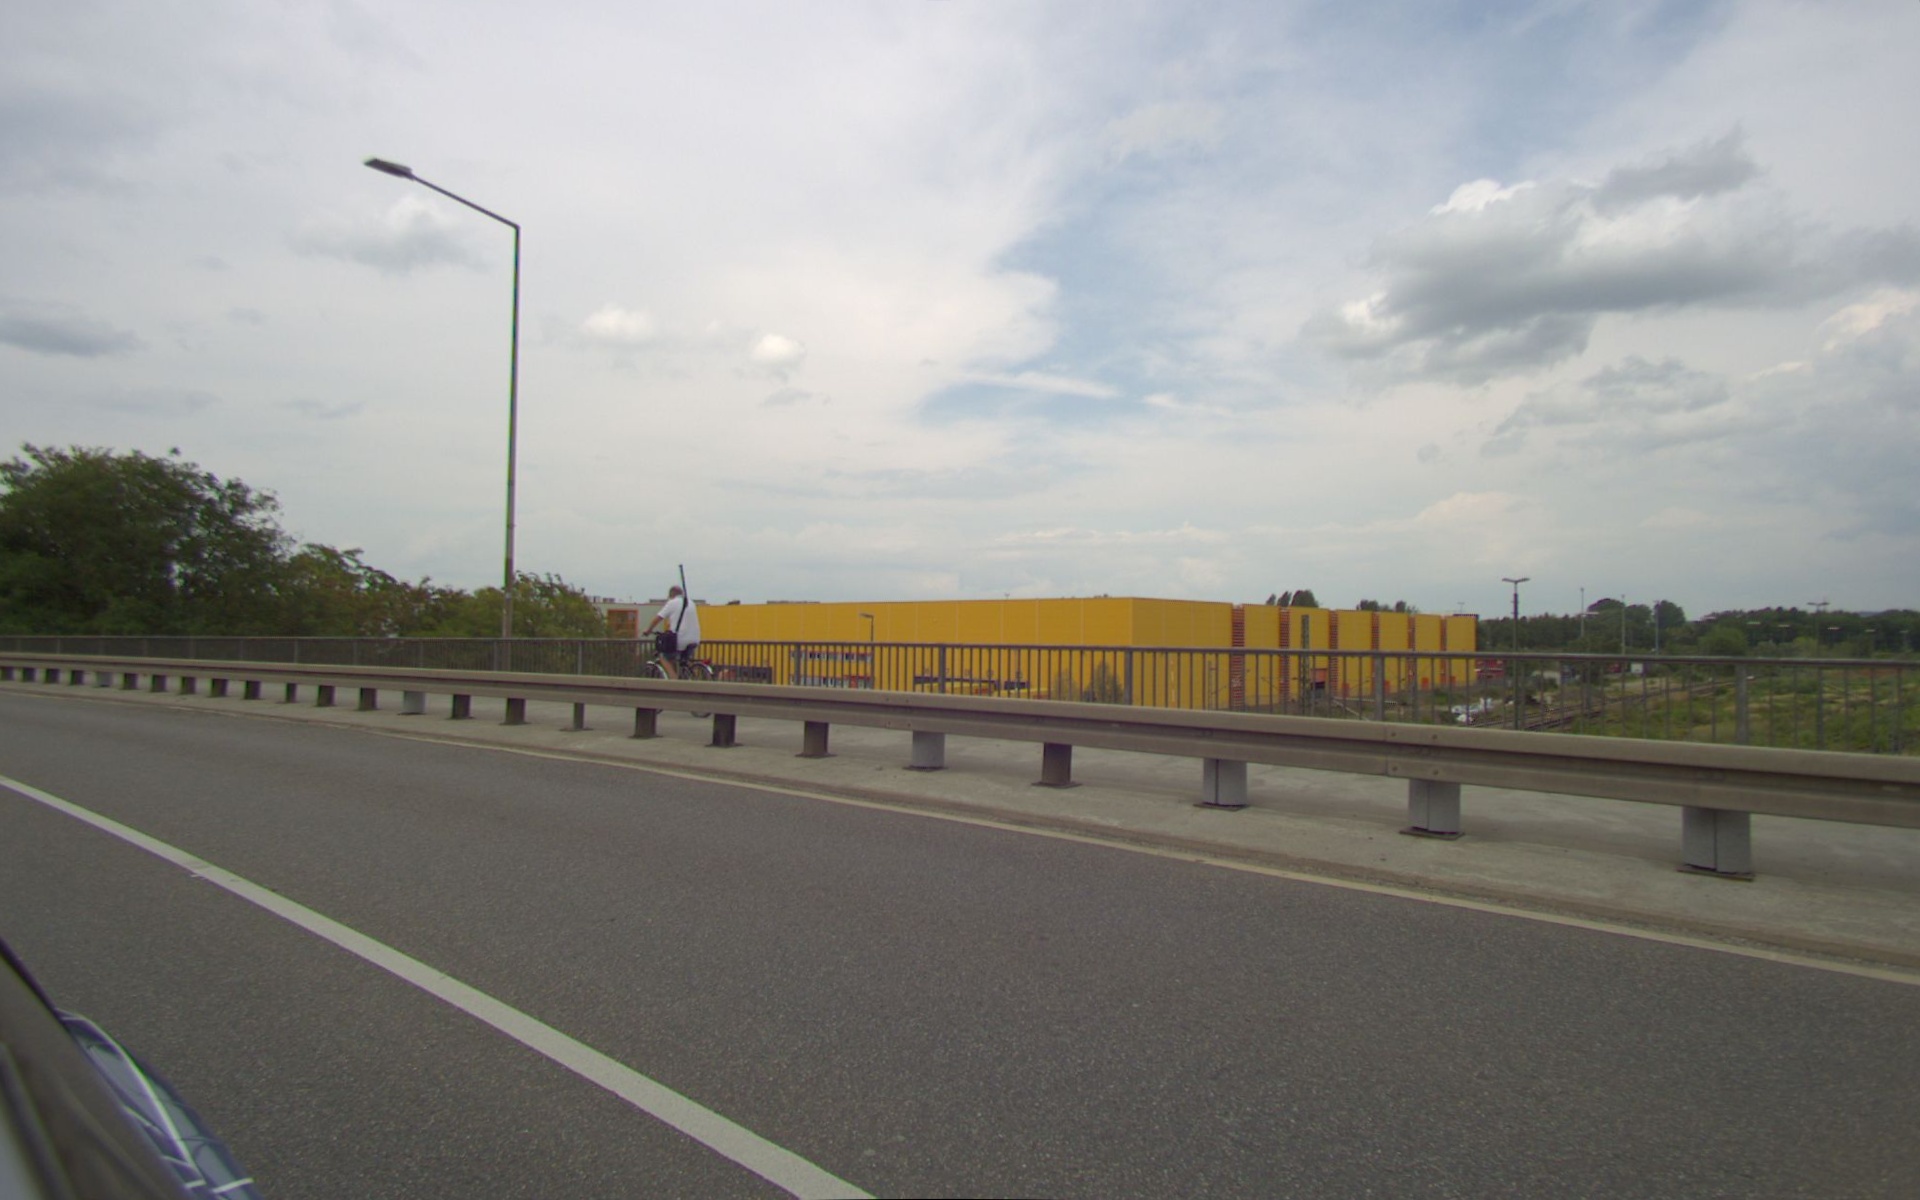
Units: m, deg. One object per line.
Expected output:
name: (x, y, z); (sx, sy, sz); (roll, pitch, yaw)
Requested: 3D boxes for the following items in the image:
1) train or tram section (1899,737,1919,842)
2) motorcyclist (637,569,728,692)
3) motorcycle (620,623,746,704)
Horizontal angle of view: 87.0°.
train or tram section: (44.300, 8.211, 44.006); (12.548, 4.126, 2.006); (6, -3, -33)
motorcyclist: (-3.621, 0.375, 13.212); (0.823, 1.541, 0.802); (0, 0, 36)
motorcycle: (-3.671, 0.802, 13.324); (1.837, 0.970, 0.620); (0, 0, 37)
